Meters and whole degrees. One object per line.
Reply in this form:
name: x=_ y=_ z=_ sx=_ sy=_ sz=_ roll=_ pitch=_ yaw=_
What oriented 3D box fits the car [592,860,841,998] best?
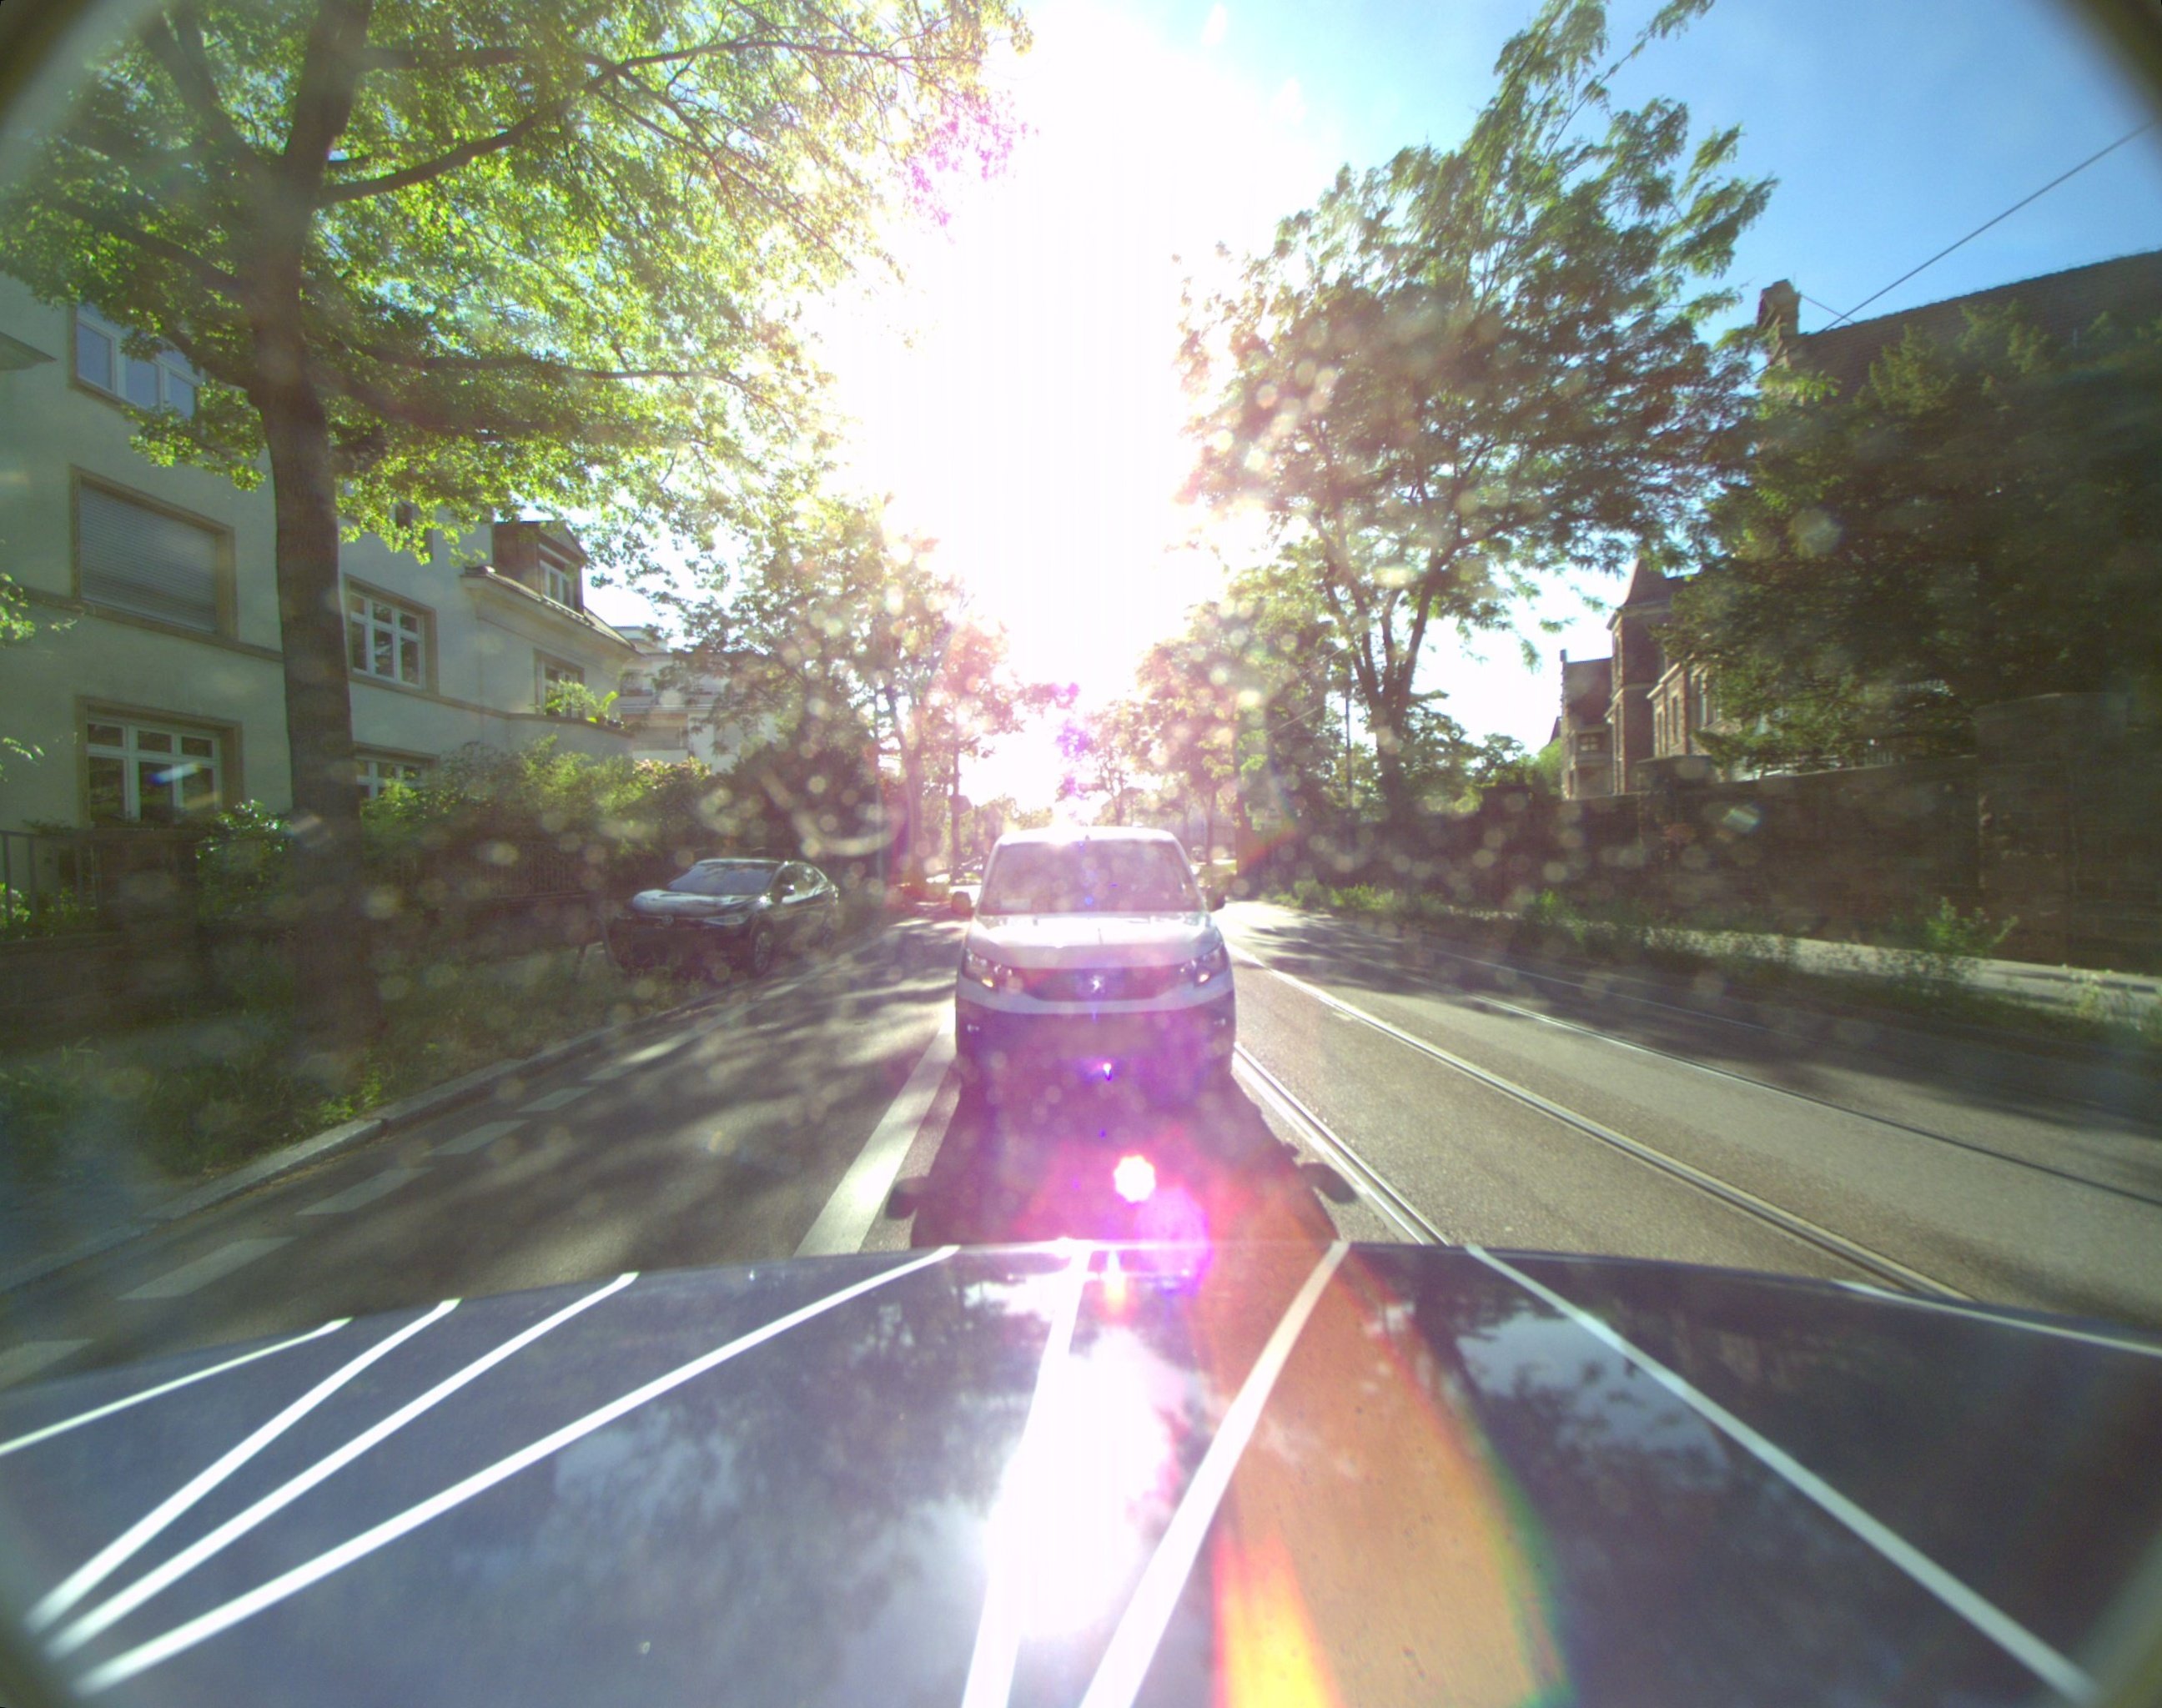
car: x=-5.148 y=0.948 z=11.420 sx=1.743 sy=1.597 sz=4.091 roll=2 pitch=0 yaw=0

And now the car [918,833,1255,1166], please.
car: x=0.048 y=0.787 z=6.533 sx=1.793 sy=1.770 sz=4.786 roll=-2 pitch=0 yaw=0

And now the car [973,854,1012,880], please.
car: x=-5.250 y=0.757 z=45.461 sx=1.787 sy=1.443 sz=4.000 roll=-2 pitch=0 yaw=1

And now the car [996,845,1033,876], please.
car: x=-4.498 y=0.435 z=51.926 sx=1.998 sy=2.002 sz=4.583 roll=-2 pitch=0 yaw=1

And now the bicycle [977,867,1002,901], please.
bicycle: x=-3.287 y=1.060 z=27.439 sx=0.644 sy=1.137 sz=1.902 roll=-1 pitch=0 yaw=1

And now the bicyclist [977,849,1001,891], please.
bicyclist: x=-3.309 y=0.566 z=27.459 sx=0.645 sy=1.479 sz=1.115 roll=-2 pitch=1 yaw=1
